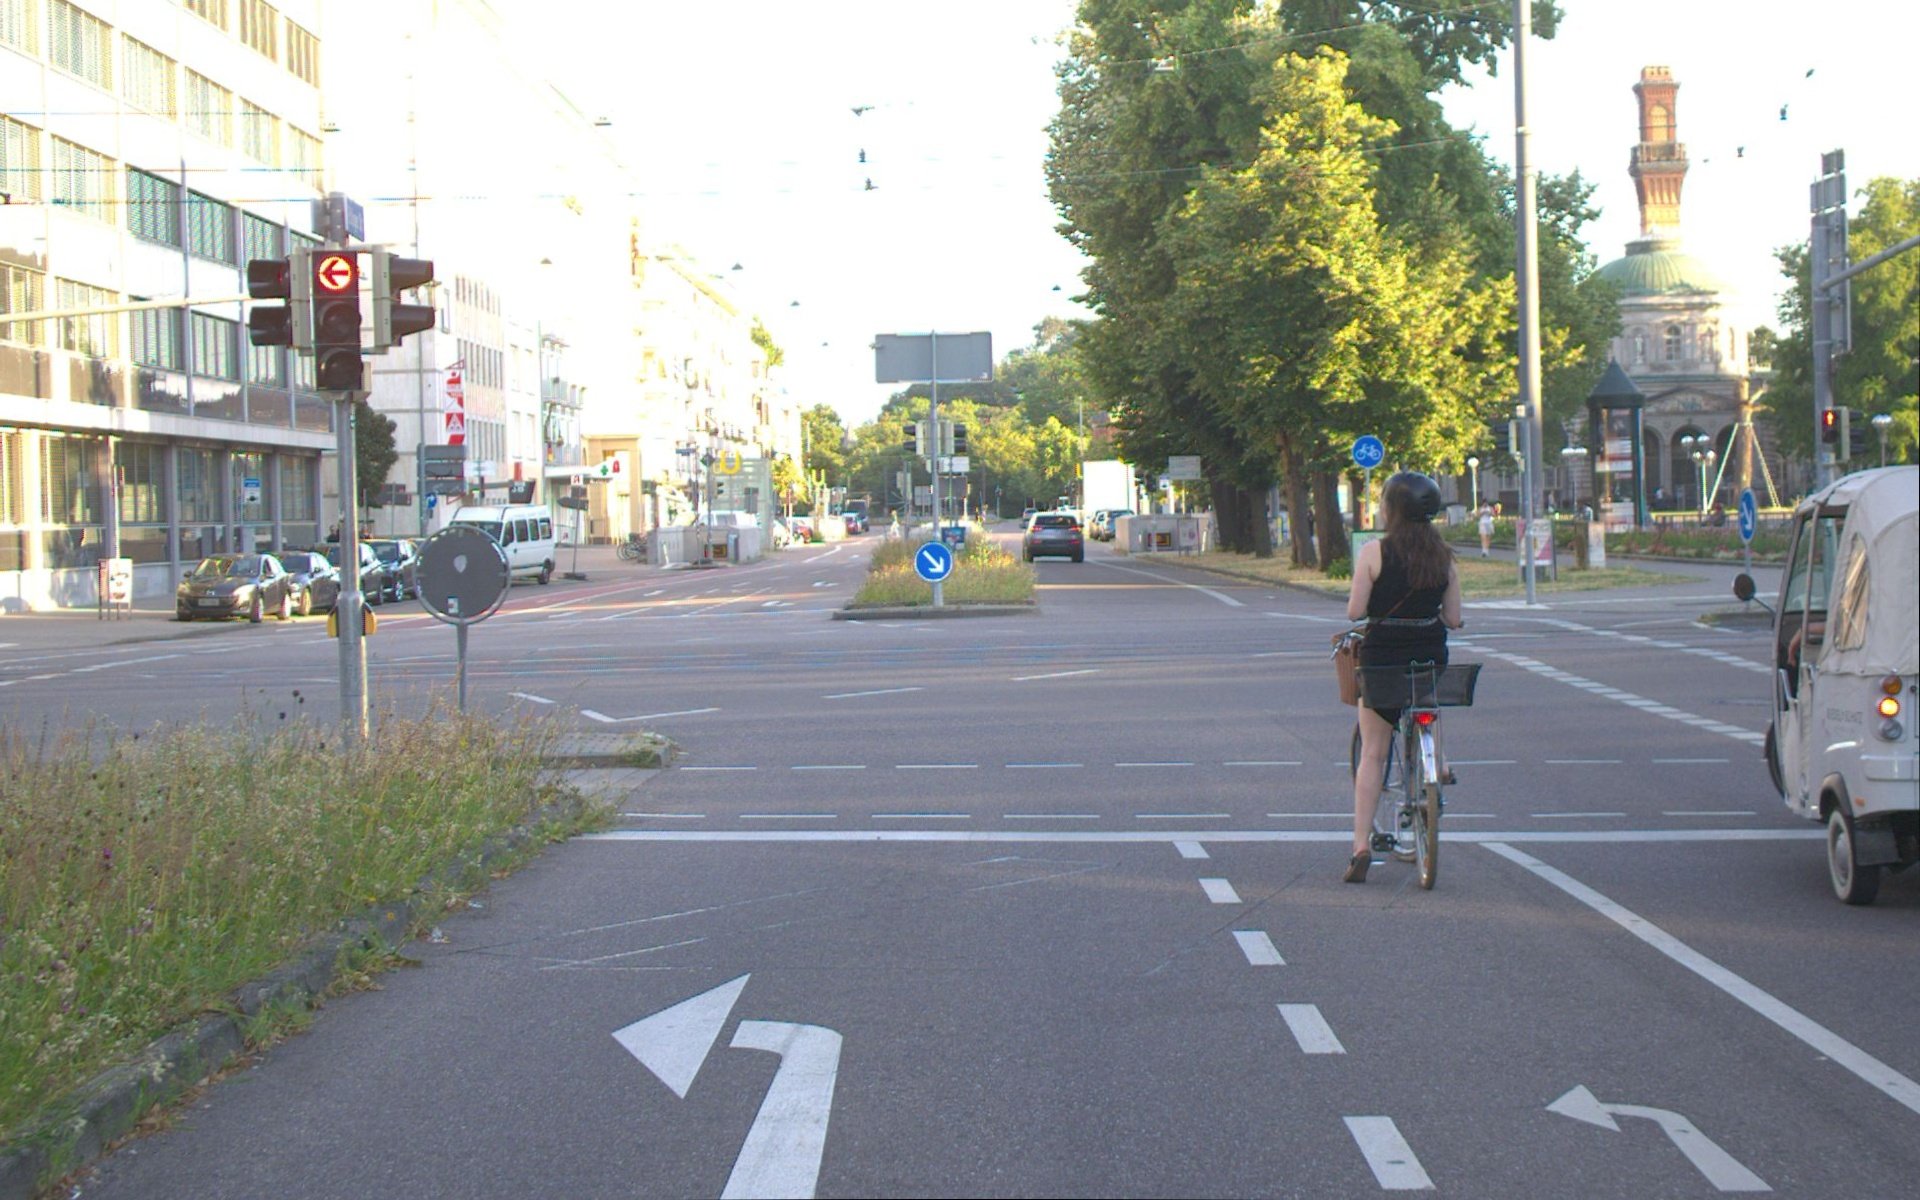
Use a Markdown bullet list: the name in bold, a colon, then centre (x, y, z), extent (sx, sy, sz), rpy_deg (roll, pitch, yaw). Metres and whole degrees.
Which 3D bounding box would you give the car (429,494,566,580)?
- **car**: centre (-13.913, -1.855, 103.847), extent (2.178, 2.377, 5.986), rpy_deg (-2, -1, 12)

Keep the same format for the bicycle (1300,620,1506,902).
- **bicycle**: centre (1.886, 0.655, 14.874), extent (0.637, 1.065, 2.069), rpy_deg (0, 1, 0)

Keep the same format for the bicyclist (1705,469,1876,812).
- **bicyclist**: centre (4.202, 0.195, 17.370), extent (0.747, 1.687, 0.714), rpy_deg (-1, 1, 19)

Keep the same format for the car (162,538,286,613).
- **car**: centre (-15.859, -0.506, 74.243), extent (1.796, 1.470, 4.000), rpy_deg (-1, -1, 0)

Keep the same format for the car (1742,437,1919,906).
- **car**: centre (4.209, 0.210, 14.250), extent (1.459, 1.774, 2.564), rpy_deg (-1, 2, 3)

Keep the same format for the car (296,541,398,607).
- **car**: centre (-15.051, -0.630, 84.582), extent (1.796, 1.470, 4.000), rpy_deg (-1, -1, 0)

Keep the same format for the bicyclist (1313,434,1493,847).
- **bicyclist**: centre (1.865, 0.159, 14.547), extent (0.628, 1.687, 0.748), rpy_deg (-1, 1, 0)

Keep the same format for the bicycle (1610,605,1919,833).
- **bicycle**: centre (4.350, 0.588, 17.304), extent (2.017, 1.065, 0.730), rpy_deg (1, 2, 20)

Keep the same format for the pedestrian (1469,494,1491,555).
- **pedestrian**: centre (14.369, -2.090, 95.003), extent (0.508, 1.663, 0.531), rpy_deg (-1, 1, -1)

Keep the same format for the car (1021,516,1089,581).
- **car**: centre (3.042, -1.666, 110.218), extent (1.993, 2.007, 4.000), rpy_deg (-1, 1, 0)

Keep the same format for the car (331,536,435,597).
- **car**: centre (-15.220, -0.871, 90.887), extent (1.796, 1.470, 3.999), rpy_deg (-1, -1, 4)
